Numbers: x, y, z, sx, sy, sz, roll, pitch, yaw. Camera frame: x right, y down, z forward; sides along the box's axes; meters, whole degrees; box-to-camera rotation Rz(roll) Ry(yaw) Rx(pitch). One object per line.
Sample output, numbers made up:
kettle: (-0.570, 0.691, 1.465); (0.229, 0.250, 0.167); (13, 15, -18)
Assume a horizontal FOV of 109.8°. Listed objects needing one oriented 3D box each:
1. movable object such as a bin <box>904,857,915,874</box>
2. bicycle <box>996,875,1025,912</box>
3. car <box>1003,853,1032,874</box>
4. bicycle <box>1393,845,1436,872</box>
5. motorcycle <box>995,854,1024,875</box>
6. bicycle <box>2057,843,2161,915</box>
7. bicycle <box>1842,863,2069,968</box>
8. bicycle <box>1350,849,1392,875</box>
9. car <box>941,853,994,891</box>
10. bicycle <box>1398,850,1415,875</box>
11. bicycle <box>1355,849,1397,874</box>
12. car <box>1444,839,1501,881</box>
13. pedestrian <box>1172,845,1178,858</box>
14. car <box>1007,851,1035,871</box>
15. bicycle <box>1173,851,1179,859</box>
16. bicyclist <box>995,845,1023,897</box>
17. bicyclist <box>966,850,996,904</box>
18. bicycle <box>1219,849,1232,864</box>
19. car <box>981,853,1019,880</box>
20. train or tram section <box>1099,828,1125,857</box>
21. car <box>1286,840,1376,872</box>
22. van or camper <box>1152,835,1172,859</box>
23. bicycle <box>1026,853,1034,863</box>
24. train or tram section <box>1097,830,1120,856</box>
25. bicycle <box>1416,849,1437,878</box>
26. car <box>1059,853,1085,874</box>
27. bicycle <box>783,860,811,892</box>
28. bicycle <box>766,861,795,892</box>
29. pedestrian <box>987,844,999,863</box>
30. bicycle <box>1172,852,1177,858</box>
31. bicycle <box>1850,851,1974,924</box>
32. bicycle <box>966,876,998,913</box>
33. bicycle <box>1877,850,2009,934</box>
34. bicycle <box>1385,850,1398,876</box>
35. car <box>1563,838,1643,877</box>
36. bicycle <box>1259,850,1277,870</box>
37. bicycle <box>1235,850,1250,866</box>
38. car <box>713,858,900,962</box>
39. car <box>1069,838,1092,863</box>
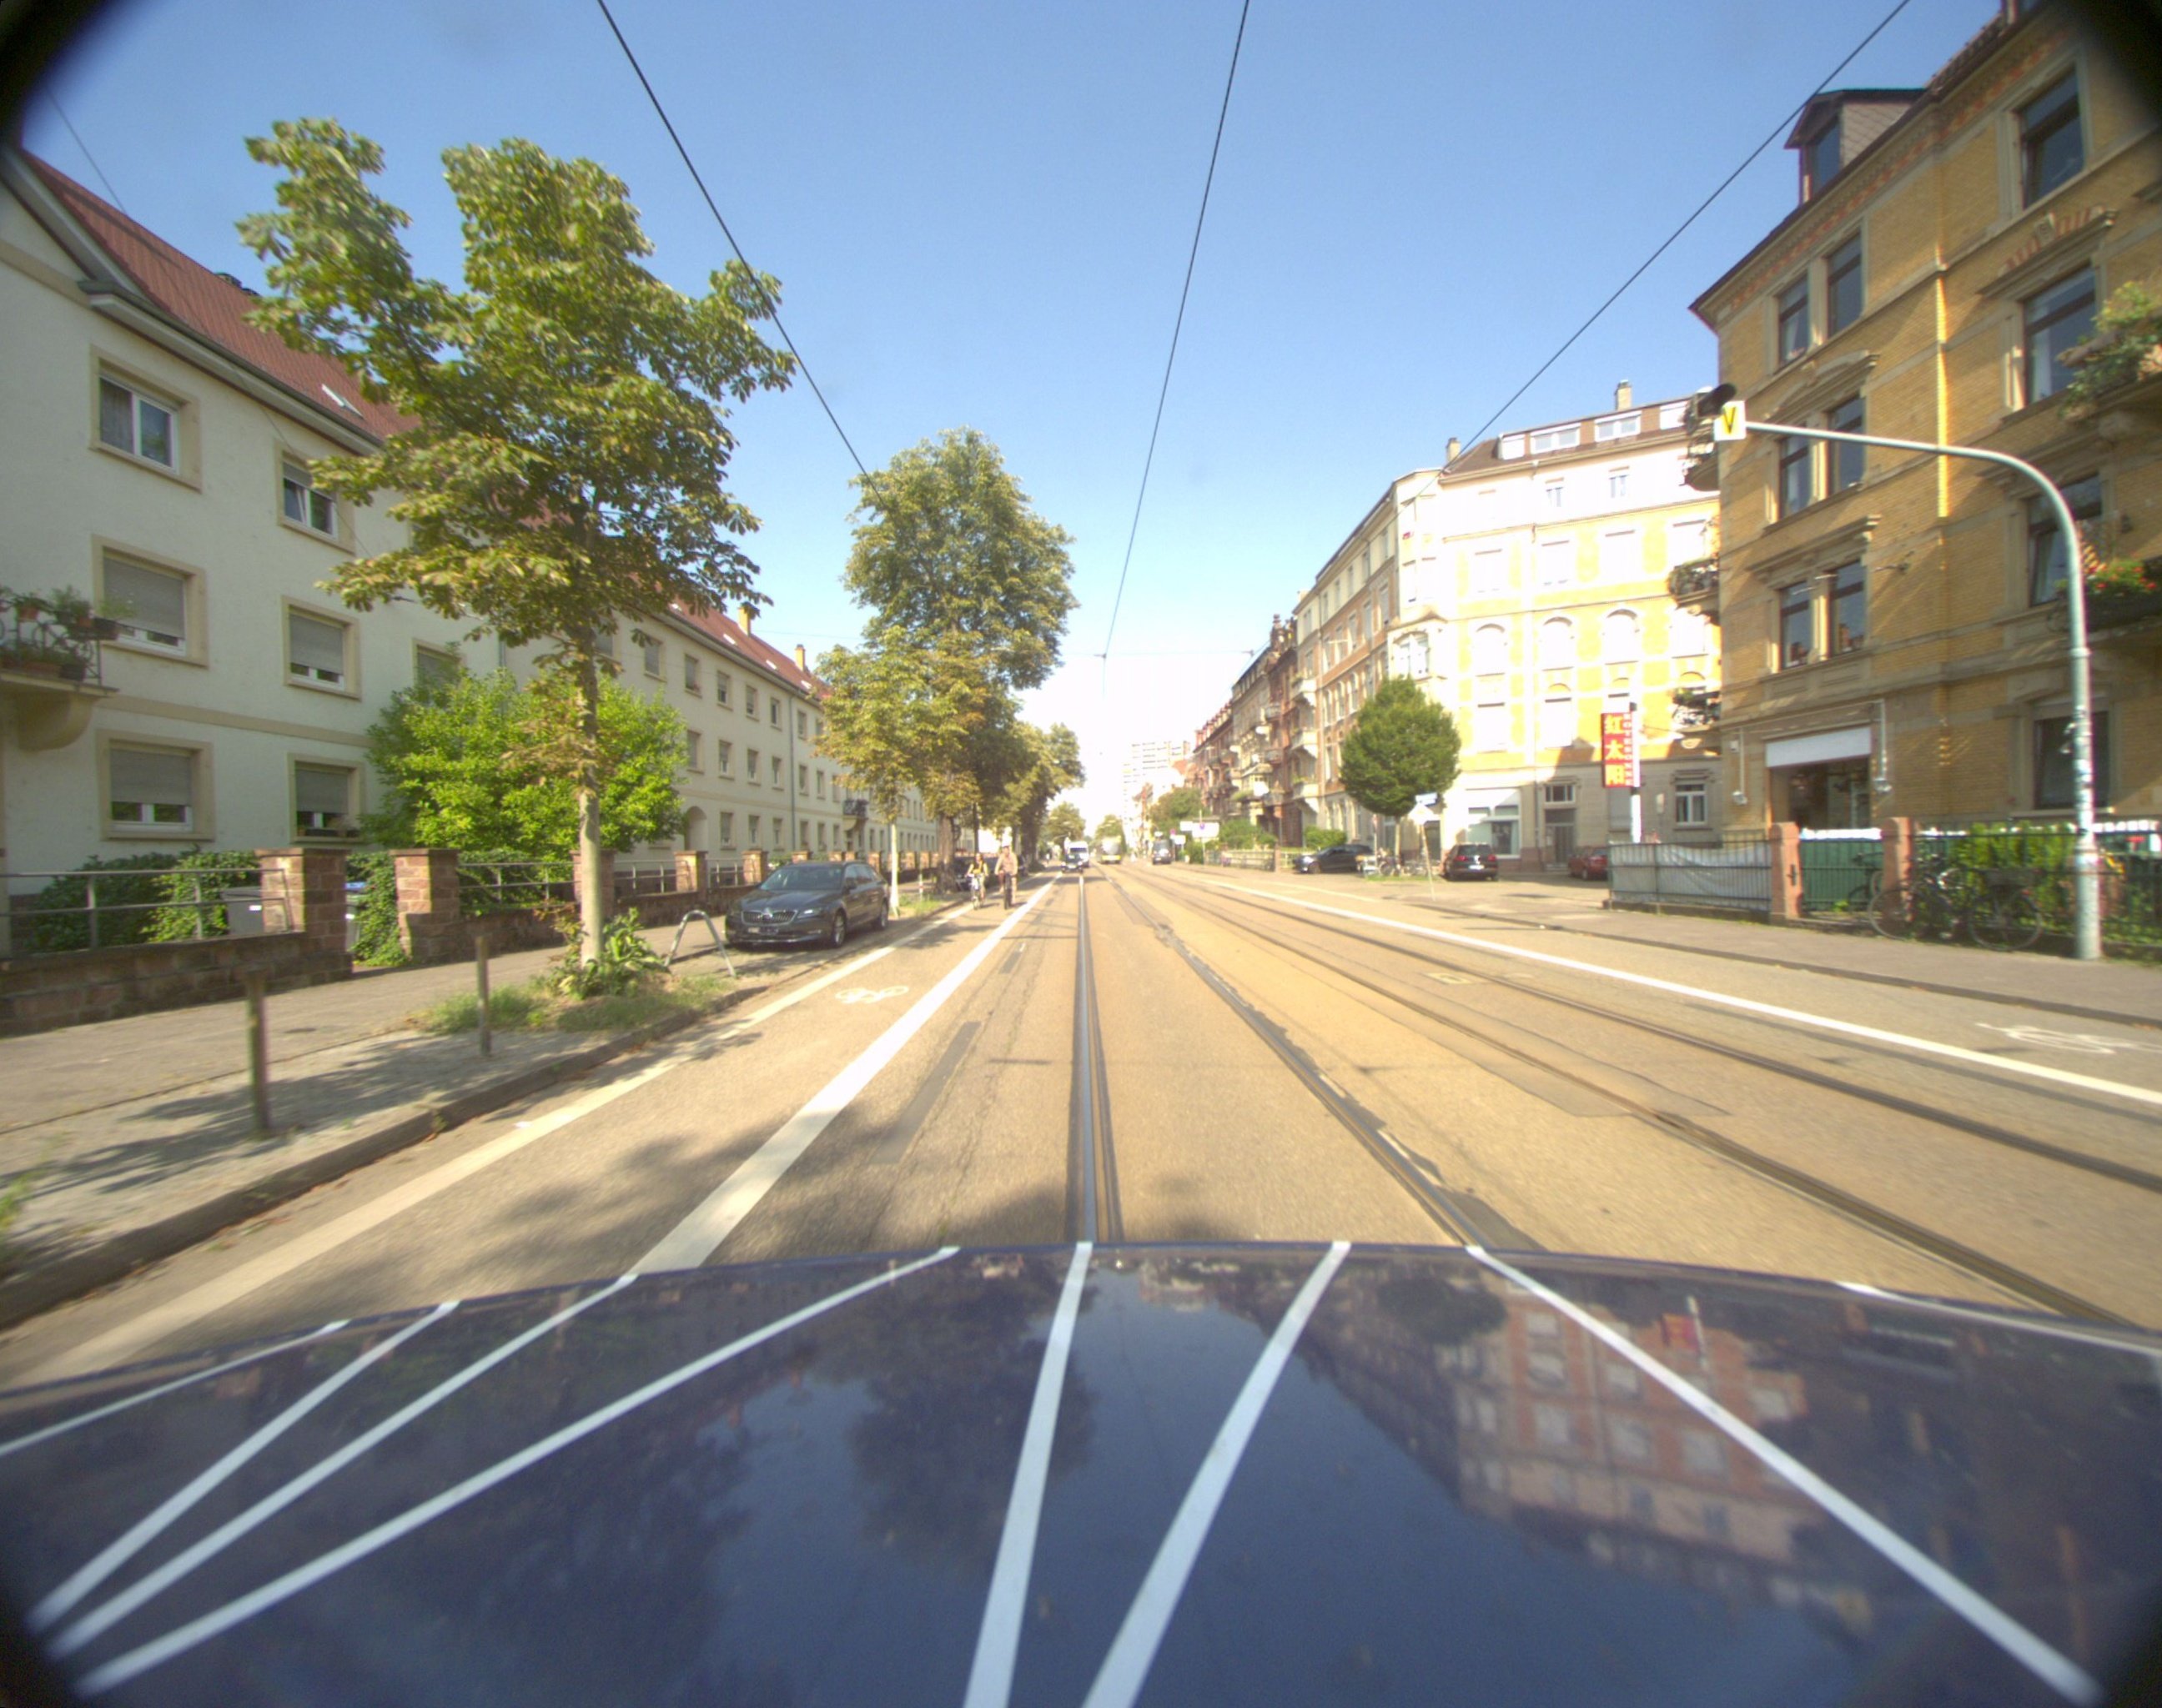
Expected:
movable object such as a bin: (-11.360, 0.749, 50.348); (0.508, 1.063, 0.660); (-1, 1, 1)
bicycle: (-1.964, 1.086, 21.313); (0.628, 0.903, 1.525); (-3, 1, -1)
car: (-4.483, 0.651, 54.317); (1.649, 1.440, 4.245); (0, 1, 0)
bicycle: (15.891, 0.220, 36.226); (1.770, 1.250, 0.544); (-1, 1, 14)
motorcycle: (-4.737, 0.671, 50.454); (1.859, 1.281, 0.705); (2, -4, -3)
bicycle: (15.906, 0.371, 11.626); (1.487, 1.054, 0.417); (-1, 1, -3)
bicycle: (10.640, 0.695, 9.371); (0.510, 1.101, 2.003); (-1, 1, 1)
bicycle: (13.948, 0.380, 36.552); (1.853, 1.190, 0.542); (-1, 1, -10)
car: (-4.860, 0.746, 33.025); (1.694, 1.494, 4.095); (1, 1, 0)
bicycle: (14.767, 0.370, 34.487); (0.542, 1.083, 1.839); (0, 1, 19)
bicycle: (14.028, 0.348, 36.110); (1.863, 1.174, 0.542); (-1, 1, -10)
car: (16.956, 0.216, 33.067); (1.764, 1.651, 3.773); (-3, 1, 21)
pedestrian: (12.214, -0.272, 98.577); (0.639, 1.668, 0.633); (-2, 1, -12)
car: (-4.887, 0.570, 62.458); (1.649, 1.531, 3.843); (0, 1, 6)
bicycle: (12.394, 0.138, 99.132); (0.527, 0.922, 1.703); (-2, 0, 3)
bicyclist: (-2.000, 0.475, 21.292); (0.628, 1.393, 0.929); (-3, 1, -1)
bicyclist: (-2.849, 0.635, 21.696); (0.656, 1.465, 0.908); (-3, 1, -1)
bicycle: (10.929, 0.198, 57.432); (0.608, 1.052, 1.839); (-5, 0, 2)
car: (-4.615, 0.686, 43.753); (1.694, 1.426, 4.336); (1, 0, 0)
train or tram section: (3.967, -1.468, 98.756); (2.741, 3.485, 10.774); (-2, 0, 0)
car: (13.473, 0.091, 41.076); (4.147, 1.534, 2.064); (-2, 2, -1)
van or camper: (9.085, -0.790, 85.138); (2.054, 2.629, 6.092); (-1, 1, 7)
bicycle: (-5.764, 0.445, 86.196); (0.774, 1.097, 2.333); (-1, 0, -2)
train or tram section: (3.934, -1.528, 109.558); (2.741, 3.485, 10.774); (-2, 0, 0)
bicycle: (15.579, 0.417, 34.309); (0.542, 1.222, 1.775); (-1, 1, 14)
car: (-0.625, 0.686, 58.477); (1.775, 1.459, 4.000); (-2, 0, 2)
bicycle: (-10.133, 0.774, 27.119); (0.417, 1.054, 1.488); (-1, 1, 0)
bicycle: (-10.781, 0.806, 27.284); (0.417, 1.054, 1.488); (-1, 1, 0)
pedestrian: (-7.915, -0.047, 68.328); (0.754, 1.739, 0.878); (-2, 1, 7)
bicycle: (12.429, 0.154, 100.827); (0.527, 0.855, 1.703); (-2, 0, 3)
bicycle: (12.643, 0.502, 11.573); (1.487, 1.054, 0.417); (-1, 1, -3)
bicycle: (-2.812, 1.139, 21.690); (0.656, 0.903, 1.774); (-3, 1, -1)
bicycle: (11.774, 0.503, 10.395); (1.361, 1.054, 0.417); (-3, 1, -3)
bicycle: (14.160, 0.389, 34.687); (0.482, 1.153, 1.775); (0, 1, 20)
car: (21.860, 0.131, 31.969); (1.764, 1.517, 3.773); (-1, 1, 18)
bicycle: (10.940, 0.347, 44.474); (0.546, 1.052, 1.839); (-5, 0, 2)
bicycle: (10.936, 0.260, 51.498); (0.546, 1.052, 1.839); (-5, 0, 2)
car: (-4.916, 0.902, 14.398); (1.748, 1.552, 4.718); (-1, 1, 1)
car: (-0.050, -0.314, 74.332); (2.087, 2.264, 4.827); (-2, 0, 0)
